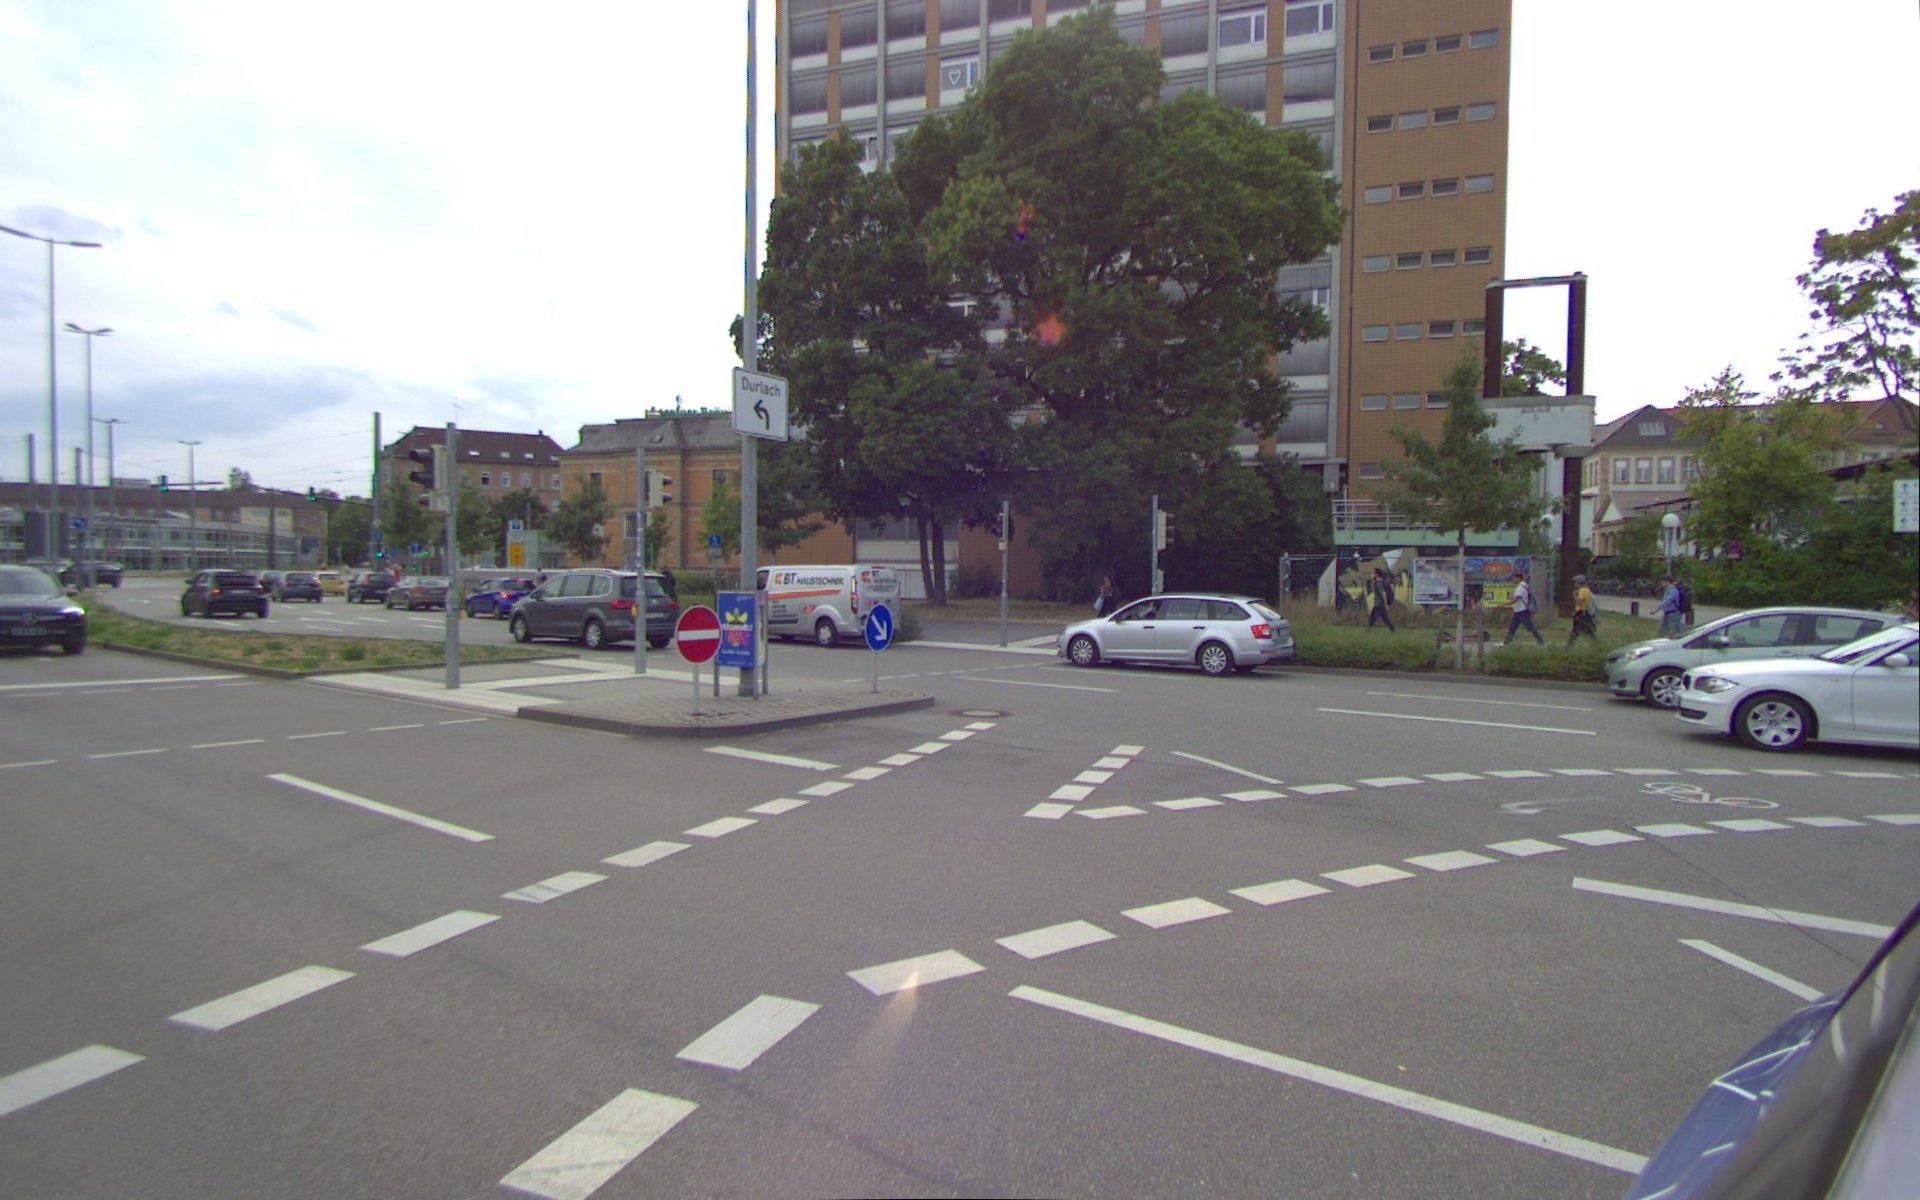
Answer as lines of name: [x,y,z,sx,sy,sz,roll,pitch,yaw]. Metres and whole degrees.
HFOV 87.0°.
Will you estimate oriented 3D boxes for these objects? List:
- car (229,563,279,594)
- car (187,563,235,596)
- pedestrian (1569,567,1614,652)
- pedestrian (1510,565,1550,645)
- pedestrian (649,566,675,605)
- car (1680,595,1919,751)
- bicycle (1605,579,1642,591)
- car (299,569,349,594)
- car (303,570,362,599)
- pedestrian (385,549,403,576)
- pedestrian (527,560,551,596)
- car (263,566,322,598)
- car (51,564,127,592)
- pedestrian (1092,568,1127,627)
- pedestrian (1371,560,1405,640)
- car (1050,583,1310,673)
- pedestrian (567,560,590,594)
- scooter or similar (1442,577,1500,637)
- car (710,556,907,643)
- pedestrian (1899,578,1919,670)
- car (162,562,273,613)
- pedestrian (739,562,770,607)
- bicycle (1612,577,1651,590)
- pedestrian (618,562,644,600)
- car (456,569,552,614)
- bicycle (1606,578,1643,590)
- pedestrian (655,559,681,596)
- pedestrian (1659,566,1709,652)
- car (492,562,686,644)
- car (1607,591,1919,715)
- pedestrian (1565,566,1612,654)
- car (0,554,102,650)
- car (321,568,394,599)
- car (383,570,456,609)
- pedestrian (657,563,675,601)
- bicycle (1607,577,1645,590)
car: [-38.759,-1.166,55.513,1.809,1.635,3.539,1,0,-42]
car: [-34.450,-0.932,46.508,1.669,1.422,3.698,1,0,-38]
pedestrian: [13.074,0.184,20.958,0.701,1.733,0.634,1,0,26]
pedestrian: [12.520,0.097,22.243,0.701,1.732,0.634,1,1,26]
pedestrian: [-12.439,-0.613,42.197,0.767,1.593,0.811,-3,3,-41]
car: [10.054,0.724,10.329,4.184,1.476,1.743,1,0,28]
bicycle: [40.850,-0.948,62.328,1.830,0.702,0.644,1,0,32]
car: [-38.396,-1.141,61.045,3.688,1.438,1.682,1,0,44]
car: [-32.147,-0.792,51.841,3.688,1.438,1.682,1,0,44]
pedestrian: [-33.679,-2.231,60.232,0.767,1.593,0.811,-3,3,-41]
pedestrian: [-18.922,-0.990,45.496,0.767,1.593,0.811,-3,3,-41]
car: [-31.652,-0.856,47.965,1.687,1.438,3.991,1,0,-43]
car: [-54.094,-1.349,62.885,3.488,1.635,1.797,1,0,10]
pedestrian: [4.195,-0.089,28.389,0.804,1.593,0.774,1,3,26]
pedestrian: [10.210,-0.021,24.159,0.701,1.875,0.634,1,2,26]
car: [4.093,0.463,19.240,4.504,1.493,1.800,1,0,38]
pedestrian: [-18.117,-1.095,48.019,0.767,1.593,0.811,-3,3,-41]
scooter or similar: [12.004,0.152,23.809,1.131,1.387,0.397,1,0,14]
car: [-3.882,-0.045,25.424,5.175,1.984,1.801,1,0,37]
pedestrian: [17.326,0.419,17.896,0.792,1.561,0.833,1,4,26]
car: [-23.563,-0.416,32.114,3.413,1.508,1.653,1,1,31]
pedestrian: [-7.364,-0.567,36.231,0.768,1.593,0.810,-3,3,-44]
bicycle: [38.449,-0.968,57.983,1.830,0.702,0.644,1,0,32]
pedestrian: [-14.025,-0.811,43.098,0.767,1.593,0.811,-3,3,-41]
car: [-16.588,-0.318,36.742,3.989,1.552,1.834,1,0,44]
bicycle: [39.873,-0.957,60.777,1.830,0.702,0.644,1,0,32]
pedestrian: [-12.617,-0.981,43.741,0.767,1.593,0.811,-3,3,-41]
pedestrian: [14.996,0.170,20.977,0.701,1.731,0.634,1,3,26]
car: [-8.352,0.021,22.626,4.656,1.671,1.738,1,0,35]
car: [11.390,0.666,14.170,3.852,1.508,1.649,1,0,36]
pedestrian: [12.588,0.180,20.284,0.701,1.732,0.634,1,2,26]
car: [-18.135,-0.002,19.173,4.487,1.672,1.973,1,0,38]
car: [-29.058,-0.797,48.747,3.688,1.438,2.106,1,0,43]
car: [-22.578,-0.446,42.226,3.623,1.527,1.645,1,0,44]
pedestrian: [-12.228,-0.742,42.109,0.540,1.555,0.549,0,2,3]
bicycle: [39.019,-0.965,59.330,1.830,0.702,0.644,1,0,32]
